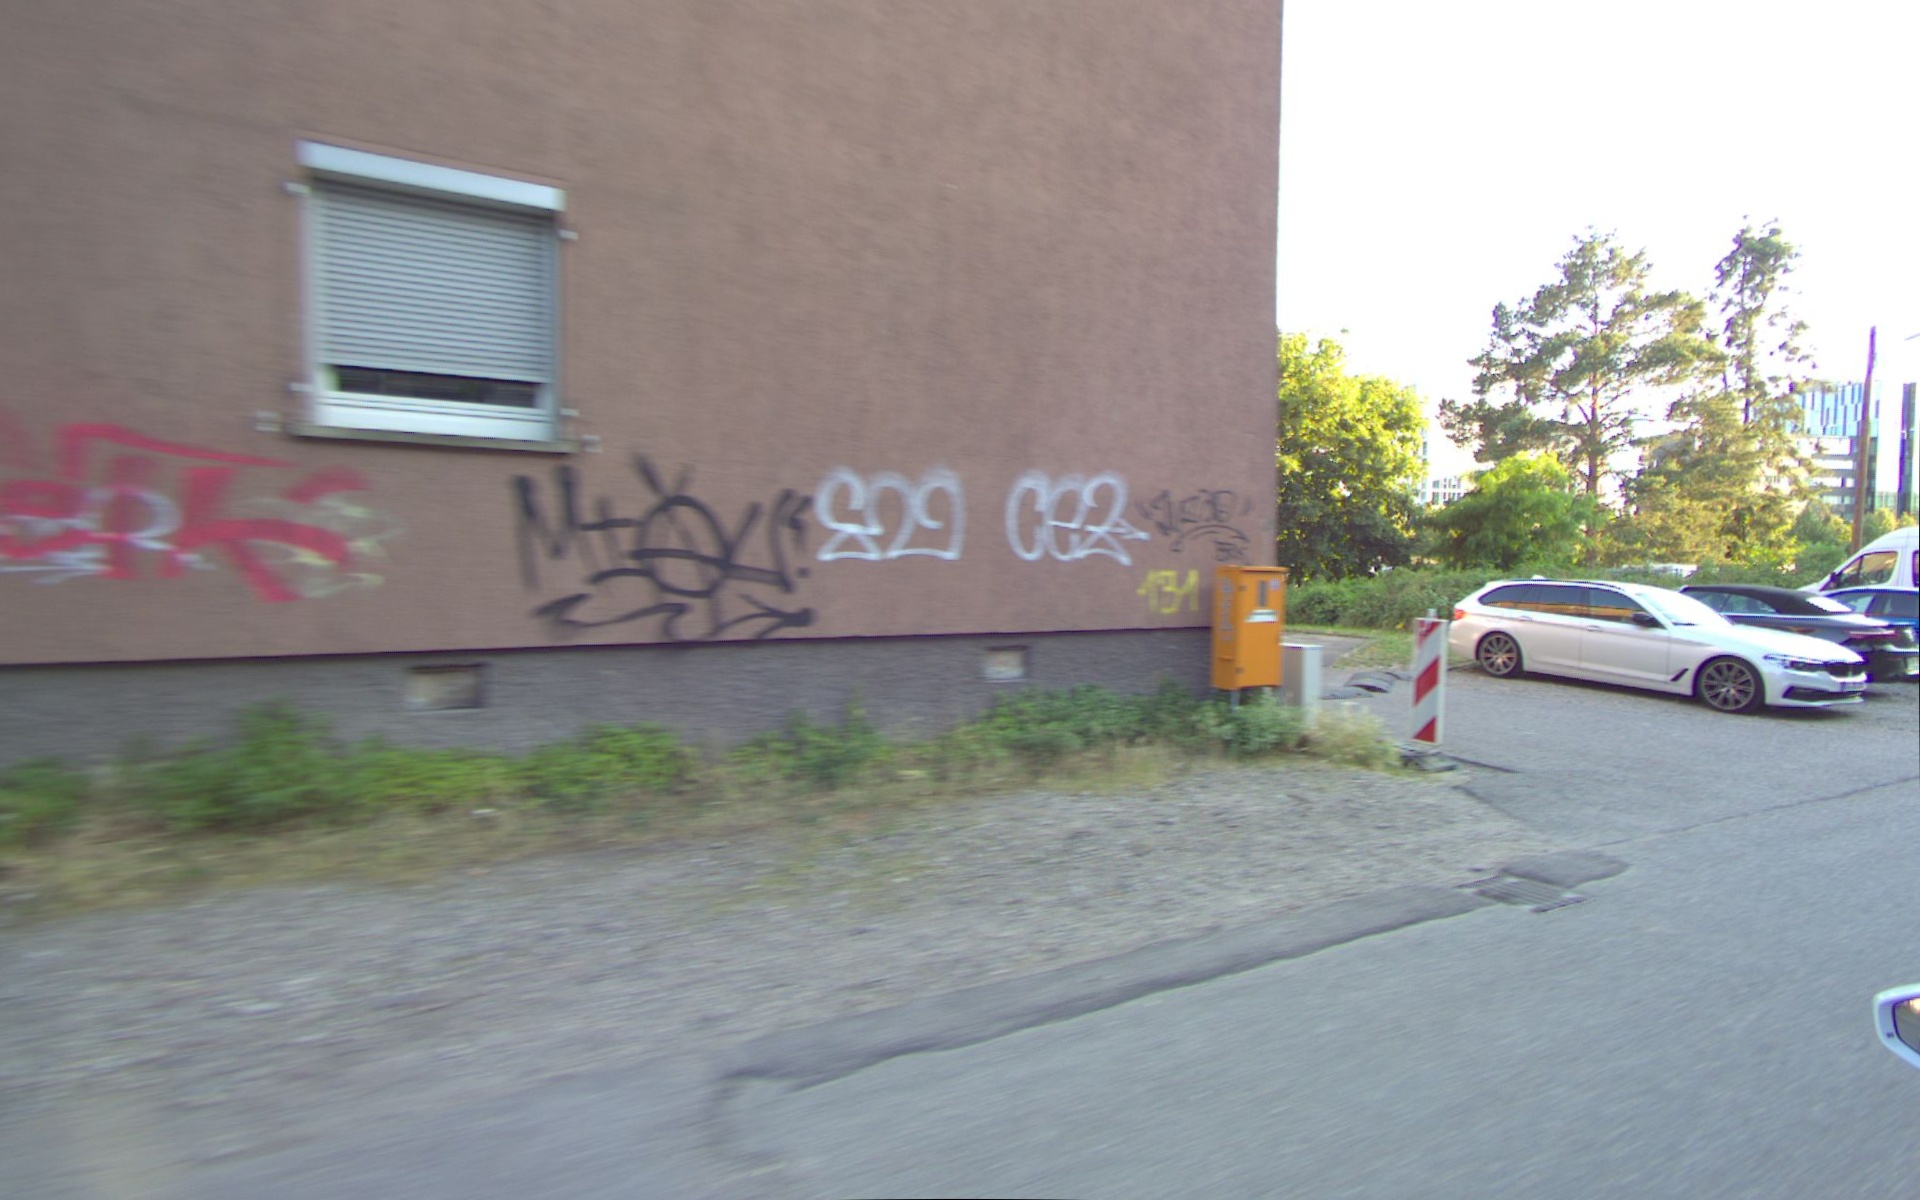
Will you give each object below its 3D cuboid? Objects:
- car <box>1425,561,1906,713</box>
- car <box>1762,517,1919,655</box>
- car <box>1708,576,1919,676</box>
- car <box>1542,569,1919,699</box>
[{"bbox_3d":[9.281,0.336,13.818,2.089,1.565,4.974,0,3,-27],"label":"car"},{"bbox_3d":[19.634,-0.260,19.666,2.193,2.662,5.666,0,2,-27],"label":"car"},{"bbox_3d":[14.796,0.393,16.352,1.708,1.449,3.816,0,2,-31],"label":"car"},{"bbox_3d":[11.442,0.381,15.061,1.709,1.565,4.391,0,3,-32],"label":"car"}]
